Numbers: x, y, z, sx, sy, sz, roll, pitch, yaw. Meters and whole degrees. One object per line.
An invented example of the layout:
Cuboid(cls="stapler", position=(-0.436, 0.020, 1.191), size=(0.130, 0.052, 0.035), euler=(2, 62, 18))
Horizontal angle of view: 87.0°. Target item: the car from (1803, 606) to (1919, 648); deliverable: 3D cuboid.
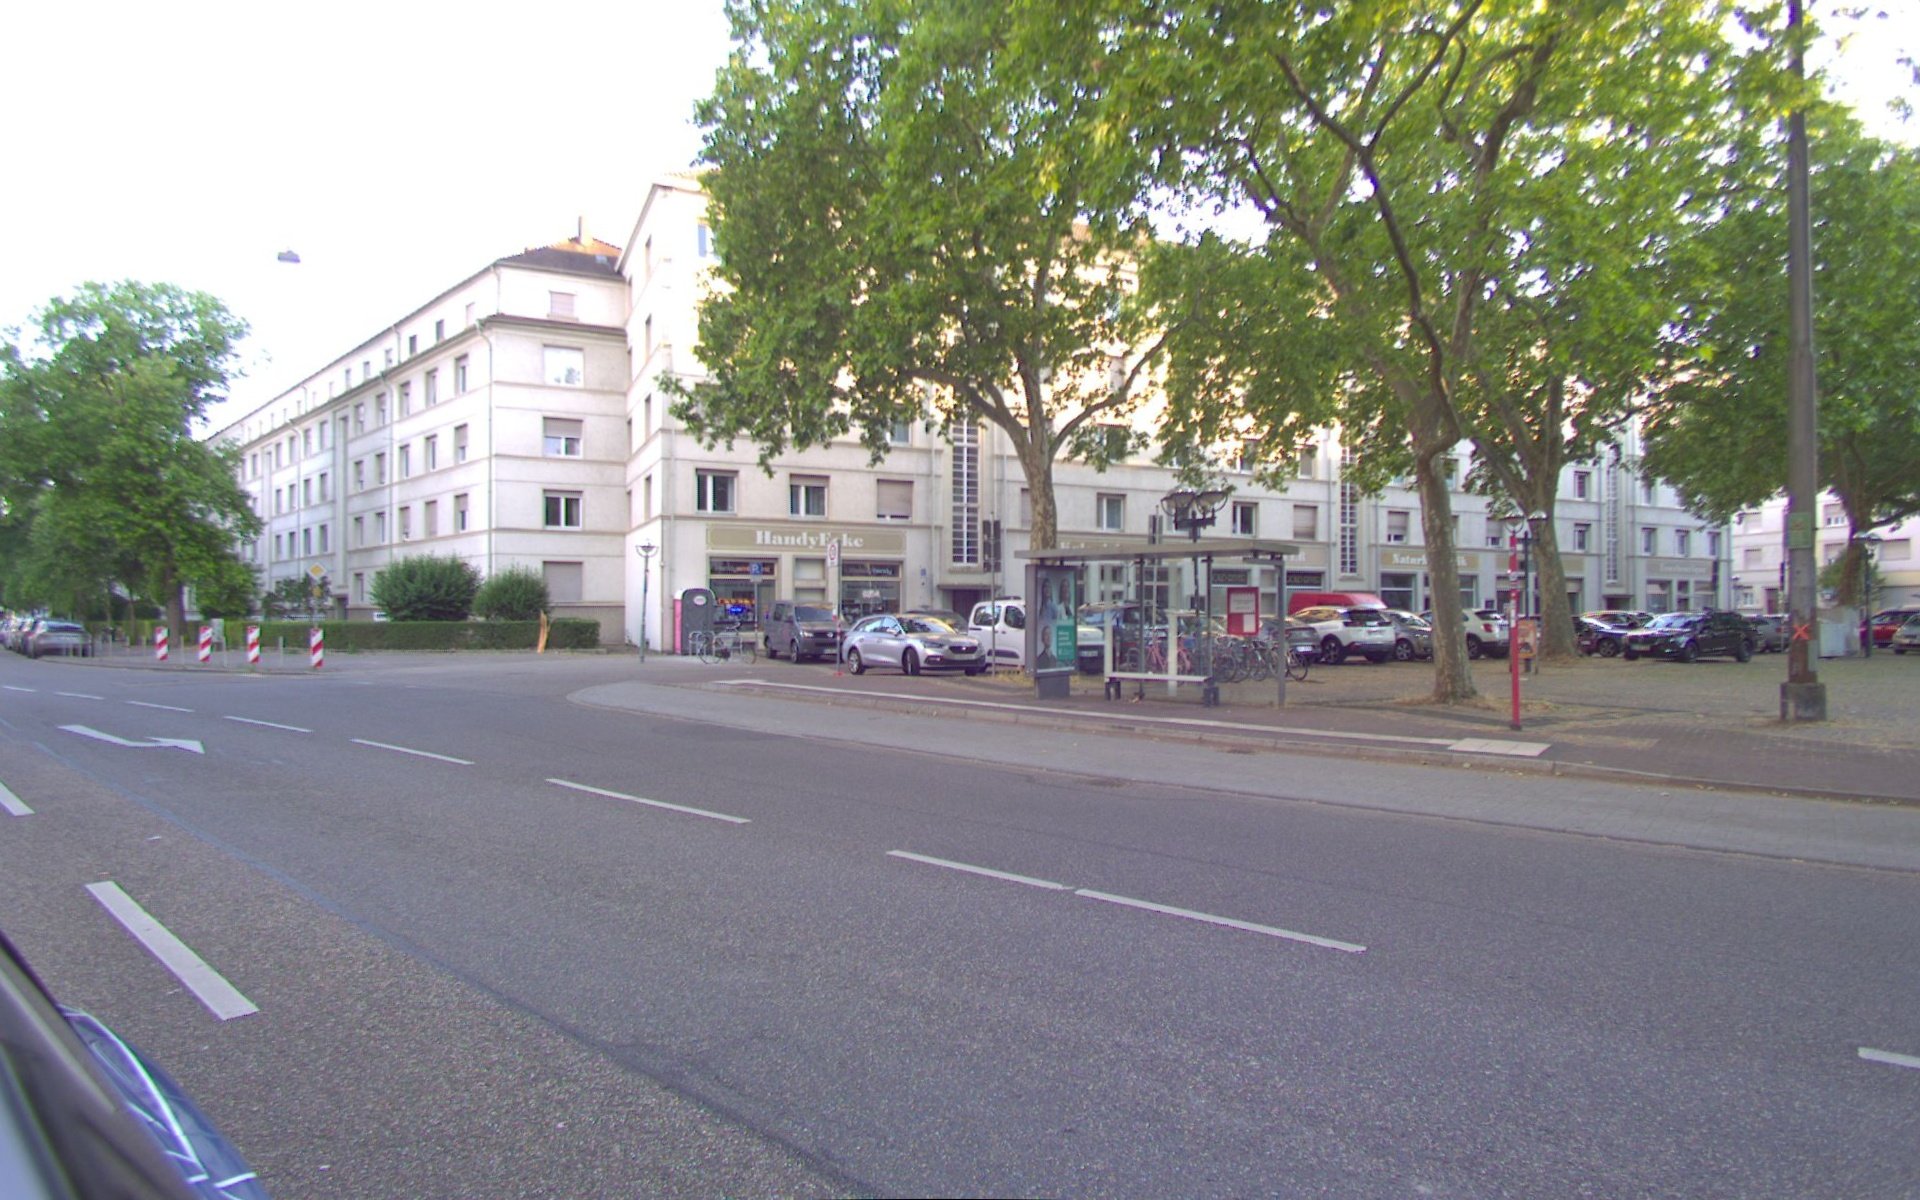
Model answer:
Cuboid(cls="car", position=(40.712, 1.241, 44.993), size=(1.969, 1.748, 4.648), euler=(2, -4, -40))

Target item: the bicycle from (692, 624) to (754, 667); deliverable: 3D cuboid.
Cuboid(cls="bicycle", position=(-7.172, 1.370, 30.656), size=(1.776, 1.215, 0.649), euler=(0, 0, -16))

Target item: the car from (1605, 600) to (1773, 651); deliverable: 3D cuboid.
Cuboid(cls="car", position=(27.079, 1.006, 37.765), size=(1.965, 1.795, 4.655), euler=(1, -3, -28))

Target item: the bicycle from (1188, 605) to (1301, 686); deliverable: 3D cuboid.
Cuboid(cls="bicycle", position=(6.173, 0.941, 22.157), size=(0.795, 1.626, 2.754), euler=(0, 0, -24))

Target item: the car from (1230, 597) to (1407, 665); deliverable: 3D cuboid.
Cuboid(cls="car", position=(10.186, 0.937, 29.122), size=(1.965, 1.795, 4.655), euler=(1, -3, -28))

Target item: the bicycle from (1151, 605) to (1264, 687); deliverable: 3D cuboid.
Cuboid(cls="bicycle", position=(5.234, 0.923, 21.641), size=(0.795, 1.626, 2.754), euler=(0, 0, -24))

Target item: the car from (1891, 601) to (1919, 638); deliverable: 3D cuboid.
Cuboid(cls="car", position=(47.640, 0.900, 48.164), size=(1.969, 1.748, 4.648), euler=(2, -4, -40))

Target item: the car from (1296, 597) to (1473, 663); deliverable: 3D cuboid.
Cuboid(cls="car", position=(12.599, 0.950, 30.373), size=(1.965, 1.795, 4.655), euler=(1, -3, -28))

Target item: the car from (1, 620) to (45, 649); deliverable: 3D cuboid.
Cuboid(cls="car", position=(-56.496, 2.046, 60.972), size=(1.866, 1.612, 4.263), euler=(-1, 0, -44))

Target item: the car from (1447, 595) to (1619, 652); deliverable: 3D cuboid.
Cuboid(cls="car", position=(19.179, 0.856, 34.107), size=(1.965, 1.795, 4.655), euler=(1, -3, -28))

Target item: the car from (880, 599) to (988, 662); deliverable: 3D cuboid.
Cuboid(cls="car", position=(-0.993, 1.012, 35.413), size=(1.965, 1.970, 4.656), euler=(1, 0, -26))

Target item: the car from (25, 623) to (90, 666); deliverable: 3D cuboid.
Cuboid(cls="car", position=(-37.399, 1.799, 41.913), size=(1.867, 1.612, 4.003), euler=(-1, 0, -44))

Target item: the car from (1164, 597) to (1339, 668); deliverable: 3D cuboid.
Cuboid(cls="car", position=(7.973, 0.950, 28.203), size=(1.965, 1.795, 4.655), euler=(1, -3, -28))

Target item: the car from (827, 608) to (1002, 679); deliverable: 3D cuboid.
Cuboid(cls="car", position=(-1.195, 1.042, 23.888), size=(1.967, 1.515, 4.652), euler=(2, -3, -35))

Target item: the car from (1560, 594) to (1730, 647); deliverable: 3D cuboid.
Cuboid(cls="car", position=(24.737, 0.810, 36.751), size=(2.057, 1.795, 4.655), euler=(1, -3, -28))

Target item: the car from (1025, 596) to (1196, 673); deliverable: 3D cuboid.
Cuboid(cls="car", position=(3.763, 0.926, 26.216), size=(1.965, 1.795, 4.655), euler=(1, -3, -28))

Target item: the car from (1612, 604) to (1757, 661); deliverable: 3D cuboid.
Cuboid(cls="car", position=(20.749, 0.916, 28.980), size=(3.696, 1.540, 1.680), euler=(1, 0, -23))

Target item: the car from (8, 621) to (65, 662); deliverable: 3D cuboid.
Cuboid(cls="car", position=(-43.342, 1.903, 47.453), size=(1.866, 1.703, 4.263), euler=(-1, 0, -44))

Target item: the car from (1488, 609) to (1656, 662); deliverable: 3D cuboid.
Cuboid(cls="car", position=(21.362, 1.284, 35.567), size=(1.965, 1.748, 4.655), euler=(1, -3, -28))

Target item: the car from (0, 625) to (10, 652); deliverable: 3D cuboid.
Cuboid(cls="car", position=(-69.810, 2.796, 72.987), size=(1.866, 1.840, 4.263), euler=(-1, 0, -44))

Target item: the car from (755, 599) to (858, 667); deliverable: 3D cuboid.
Cuboid(cls="car", position=(-5.093, 1.013, 33.067), size=(1.965, 1.970, 4.656), euler=(1, 0, -26))

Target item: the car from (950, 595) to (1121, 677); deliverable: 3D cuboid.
Cuboid(cls="car", position=(1.719, 0.907, 24.758), size=(1.965, 1.795, 4.655), euler=(1, -3, -28))

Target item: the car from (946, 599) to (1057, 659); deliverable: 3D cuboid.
Cuboid(cls="car", position=(1.416, 0.989, 36.597), size=(1.965, 1.970, 4.656), euler=(1, 0, -26))

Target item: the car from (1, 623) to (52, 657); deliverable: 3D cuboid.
Cuboid(cls="car", position=(-48.545, 2.032, 52.613), size=(1.866, 1.612, 4.263), euler=(-1, 0, -44))

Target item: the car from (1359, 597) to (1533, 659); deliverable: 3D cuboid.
Cuboid(cls="car", position=(15.170, 0.930, 31.873), size=(1.965, 1.795, 4.655), euler=(1, -3, -28))

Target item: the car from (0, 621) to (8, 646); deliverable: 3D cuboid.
Cuboid(cls="car", position=(-76.321, 2.679, 79.734), size=(1.866, 1.879, 4.263), euler=(-1, 0, -44))

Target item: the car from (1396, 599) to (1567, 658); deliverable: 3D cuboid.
Cuboid(cls="car", position=(17.011, 0.989, 33.295), size=(1.965, 1.795, 4.655), euler=(1, -3, -28))

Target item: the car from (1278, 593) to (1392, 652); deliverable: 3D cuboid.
Cuboid(cls="car", position=(16.645, 0.933, 45.182), size=(1.965, 2.460, 4.656), euler=(1, 0, -26))

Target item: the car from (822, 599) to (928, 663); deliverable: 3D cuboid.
Cuboid(cls="car", position=(-2.976, 0.982, 34.316), size=(1.965, 1.970, 4.656), euler=(1, 0, -26))

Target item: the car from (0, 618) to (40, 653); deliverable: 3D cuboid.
Cuboid(cls="car", position=(-52.885, 1.951, 56.695), size=(1.866, 1.787, 4.263), euler=(-1, 0, -44))

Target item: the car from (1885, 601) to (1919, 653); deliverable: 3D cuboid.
Cuboid(cls="car", position=(33.071, 0.888, 33.886), size=(3.696, 1.674, 1.680), euler=(-1, 0, -23))

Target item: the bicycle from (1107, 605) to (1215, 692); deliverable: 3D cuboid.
Cuboid(cls="bicycle", position=(4.056, 0.935, 20.713), size=(0.680, 1.626, 2.754), euler=(0, 0, -24))

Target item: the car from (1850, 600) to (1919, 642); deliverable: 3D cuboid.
Cuboid(cls="car", position=(43.287, 0.945, 45.430), size=(1.968, 1.824, 4.658), euler=(2, -4, -38))

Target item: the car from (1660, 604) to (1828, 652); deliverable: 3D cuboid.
Cuboid(cls="car", position=(29.993, 1.128, 38.905), size=(1.965, 1.748, 4.655), euler=(1, -3, -28))

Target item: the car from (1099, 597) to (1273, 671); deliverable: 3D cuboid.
Cuboid(cls="car", position=(5.919, 0.950, 27.121), size=(1.965, 1.795, 4.655), euler=(1, -3, -28))

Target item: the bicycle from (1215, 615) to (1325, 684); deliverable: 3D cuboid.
Cuboid(cls="bicycle", position=(6.884, 1.061, 22.671), size=(0.680, 1.394, 2.754), euler=(0, 0, -24))

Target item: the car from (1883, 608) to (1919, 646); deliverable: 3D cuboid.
Cuboid(cls="car", position=(45.720, 1.211, 46.508), size=(1.969, 1.748, 4.648), euler=(2, -4, -40))
